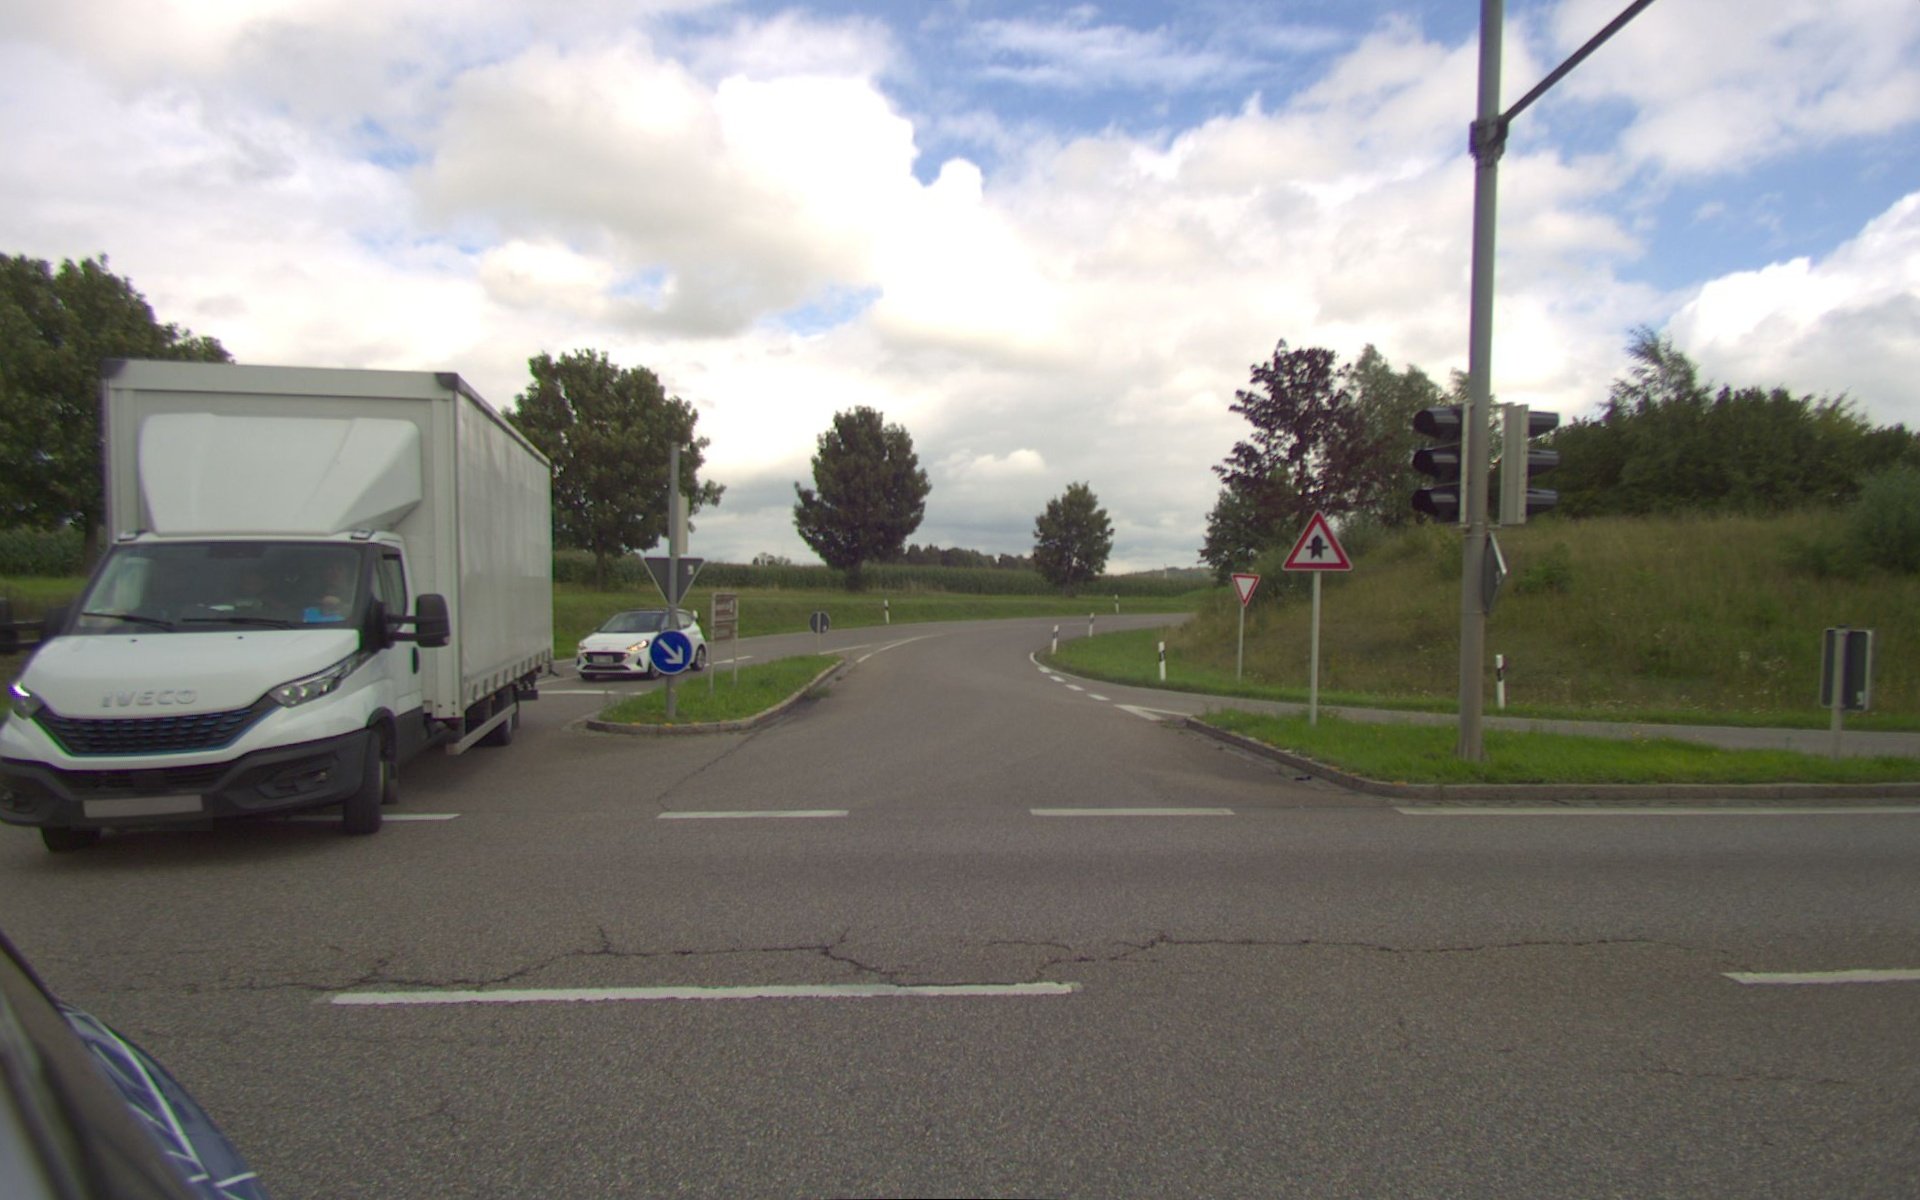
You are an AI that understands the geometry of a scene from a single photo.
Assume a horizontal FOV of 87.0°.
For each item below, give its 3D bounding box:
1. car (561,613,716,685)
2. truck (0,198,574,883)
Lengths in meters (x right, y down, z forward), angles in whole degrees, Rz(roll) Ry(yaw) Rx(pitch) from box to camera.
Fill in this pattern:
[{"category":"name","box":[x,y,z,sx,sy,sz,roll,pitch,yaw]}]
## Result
[{"category":"car","box":[-7.141,1.028,22.919,1.790,1.463,3.989,0,-1,9]},{"category":"truck","box":[-5.886,-0.236,9.993,2.791,3.792,8.823,1,-1,-14]}]
